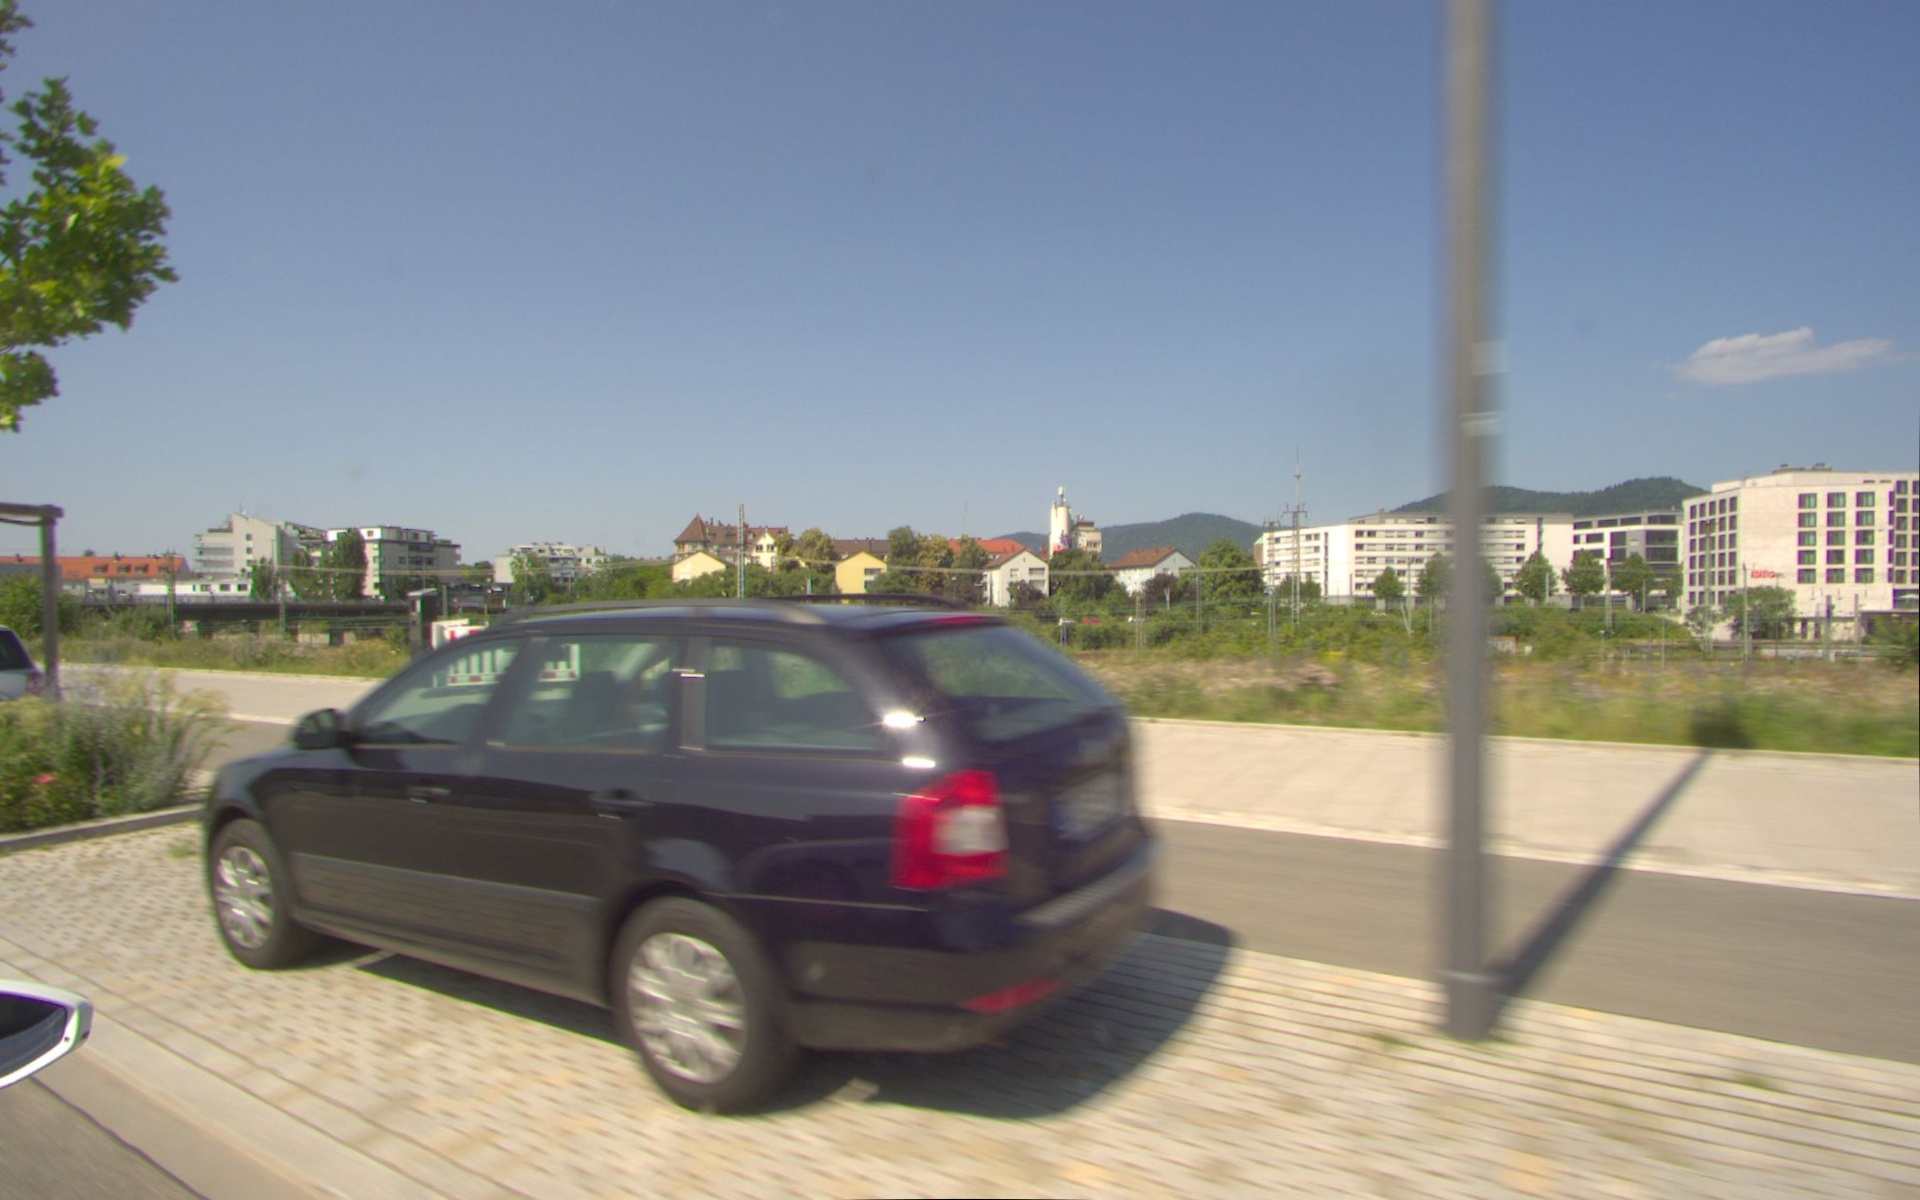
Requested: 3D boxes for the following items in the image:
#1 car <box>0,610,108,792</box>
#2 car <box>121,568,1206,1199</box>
[{"bbox_3d":[-9.736,0.848,9.250,4.102,1.499,1.903,0,0,35],"label":"car"},{"bbox_3d":[-1.364,0.700,4.156,4.306,1.497,1.786,-1,1,29],"label":"car"}]
